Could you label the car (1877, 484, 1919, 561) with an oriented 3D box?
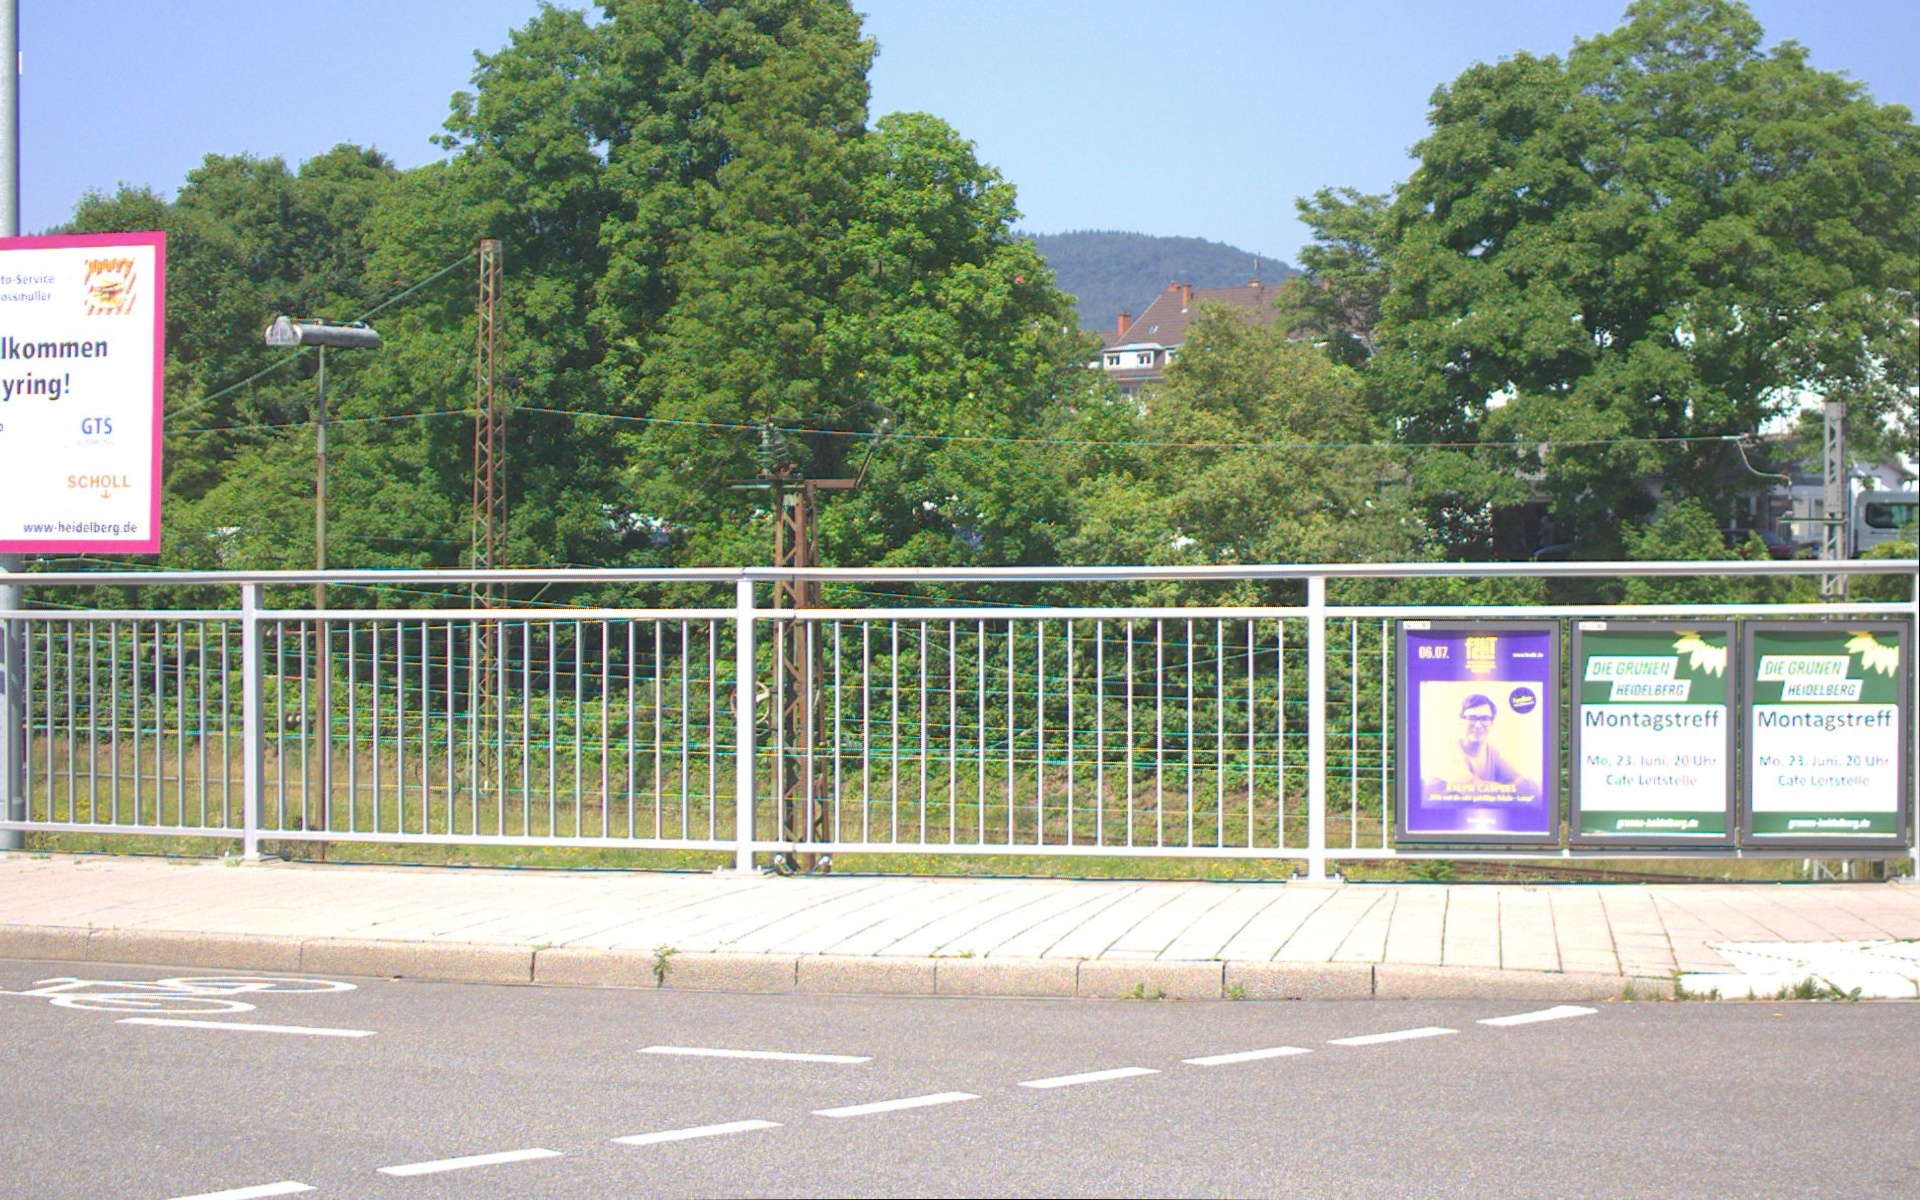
[{"bbox_3d":[27.771,-2.117,93.761,4.983,2.105,1.997,1,2,29],"label":"car"}]
